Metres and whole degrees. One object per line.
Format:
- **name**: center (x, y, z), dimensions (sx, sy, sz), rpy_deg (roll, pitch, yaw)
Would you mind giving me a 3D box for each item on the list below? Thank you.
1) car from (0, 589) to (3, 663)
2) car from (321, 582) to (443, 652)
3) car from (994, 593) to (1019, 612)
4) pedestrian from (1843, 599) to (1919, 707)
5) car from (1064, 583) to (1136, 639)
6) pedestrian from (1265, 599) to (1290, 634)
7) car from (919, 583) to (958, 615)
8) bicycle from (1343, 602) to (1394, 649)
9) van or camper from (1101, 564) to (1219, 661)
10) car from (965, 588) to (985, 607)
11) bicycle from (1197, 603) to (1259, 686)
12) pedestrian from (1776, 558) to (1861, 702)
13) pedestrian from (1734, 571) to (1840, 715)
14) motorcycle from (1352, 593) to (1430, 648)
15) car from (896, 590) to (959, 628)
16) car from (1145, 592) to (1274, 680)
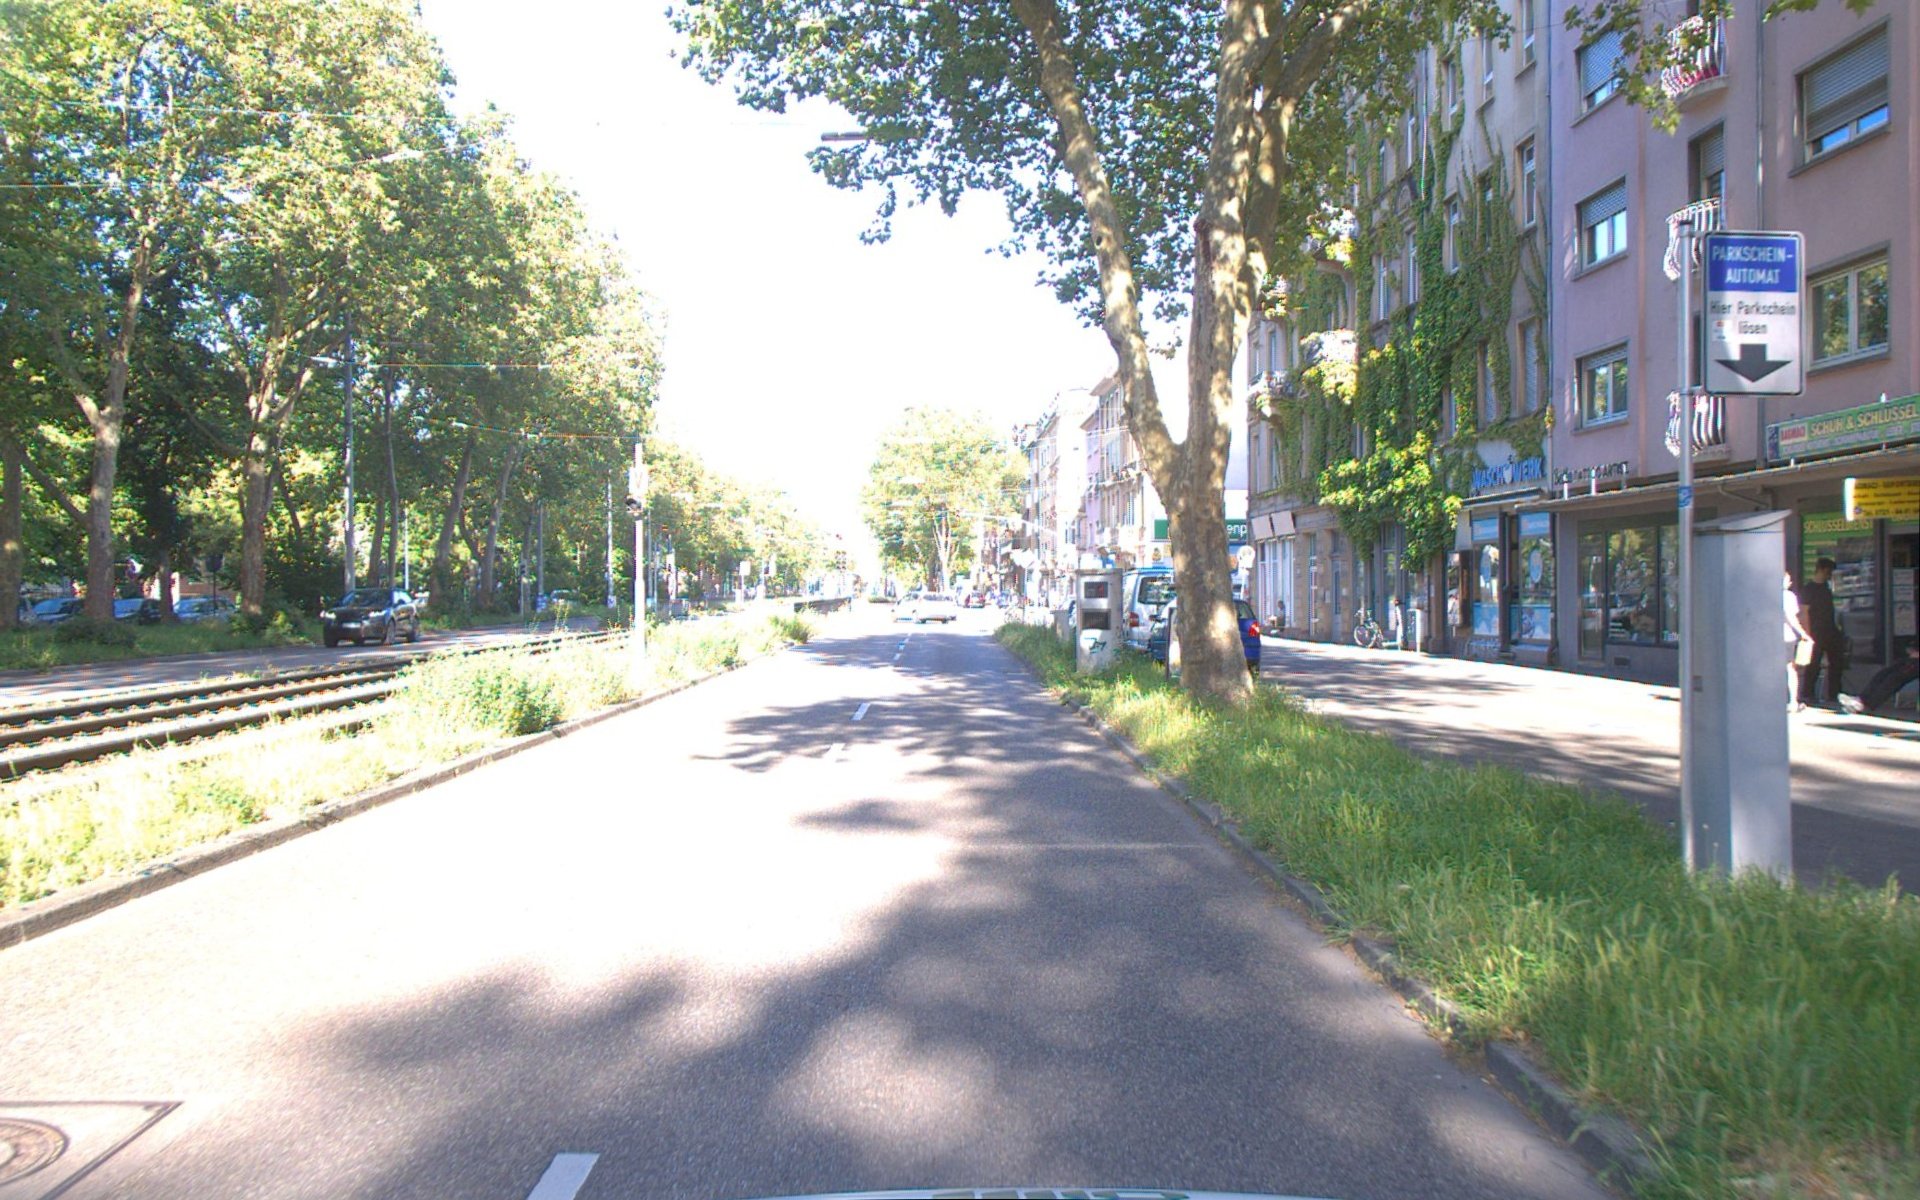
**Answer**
- **car**: center (-27.594, 0.764, 43.271), dimensions (2.109, 2.049, 5.267), rpy_deg (-1, 1, -1)
- **car**: center (-17.308, 0.452, 49.769), dimensions (1.953, 1.903, 4.872), rpy_deg (-2, 1, -1)
- **car**: center (3.840, 0.166, 136.982), dimensions (1.647, 1.535, 3.670), rpy_deg (0, 0, 8)
- **pedestrian**: center (11.550, 0.633, 20.214), dimensions (1.120, 1.277, 0.749), rpy_deg (-1, 0, -1)
- **car**: center (3.976, 0.295, 47.471), dimensions (1.649, 1.535, 3.666), rpy_deg (0, 0, -2)
- **pedestrian**: center (10.802, 0.566, 56.353), dimensions (0.693, 1.171, 0.740), rpy_deg (0, 0, -1)
- **car**: center (-1.172, -0.076, 88.590), dimensions (1.981, 1.691, 3.998), rpy_deg (0, 1, -2)
- **bicycle**: center (10.888, 0.665, 44.208), dimensions (0.868, 1.154, 2.400), rpy_deg (-1, 1, 3)
- **van or camper**: center (4.336, 0.239, 36.602), dimensions (1.802, 1.997, 5.125), rpy_deg (0, 0, -2)
- **car**: center (1.239, -0.200, 139.968), dimensions (1.648, 1.535, 3.667), rpy_deg (0, 0, 0)
- **bicycle**: center (3.472, 0.557, 21.534), dimensions (0.576, 1.008, 1.450), rpy_deg (-1, 1, 0)
- **pedestrian**: center (11.308, 0.377, 21.814), dimensions (0.672, 1.852, 0.811), rpy_deg (-1, 1, -3)
- **pedestrian**: center (10.235, 0.515, 20.488), dimensions (0.904, 1.739, 0.813), rpy_deg (-1, 0, 0)
- **motorcycle**: center (10.896, 0.514, 41.878), dimensions (1.863, 1.290, 0.555), rpy_deg (2, 0, 45)
- **car**: center (-1.526, 0.388, 76.271), dimensions (1.988, 1.691, 3.983), rpy_deg (0, 1, -16)
- **car**: center (4.640, 0.633, 31.197), dimensions (1.650, 1.540, 3.664), rpy_deg (0, 0, -4)
